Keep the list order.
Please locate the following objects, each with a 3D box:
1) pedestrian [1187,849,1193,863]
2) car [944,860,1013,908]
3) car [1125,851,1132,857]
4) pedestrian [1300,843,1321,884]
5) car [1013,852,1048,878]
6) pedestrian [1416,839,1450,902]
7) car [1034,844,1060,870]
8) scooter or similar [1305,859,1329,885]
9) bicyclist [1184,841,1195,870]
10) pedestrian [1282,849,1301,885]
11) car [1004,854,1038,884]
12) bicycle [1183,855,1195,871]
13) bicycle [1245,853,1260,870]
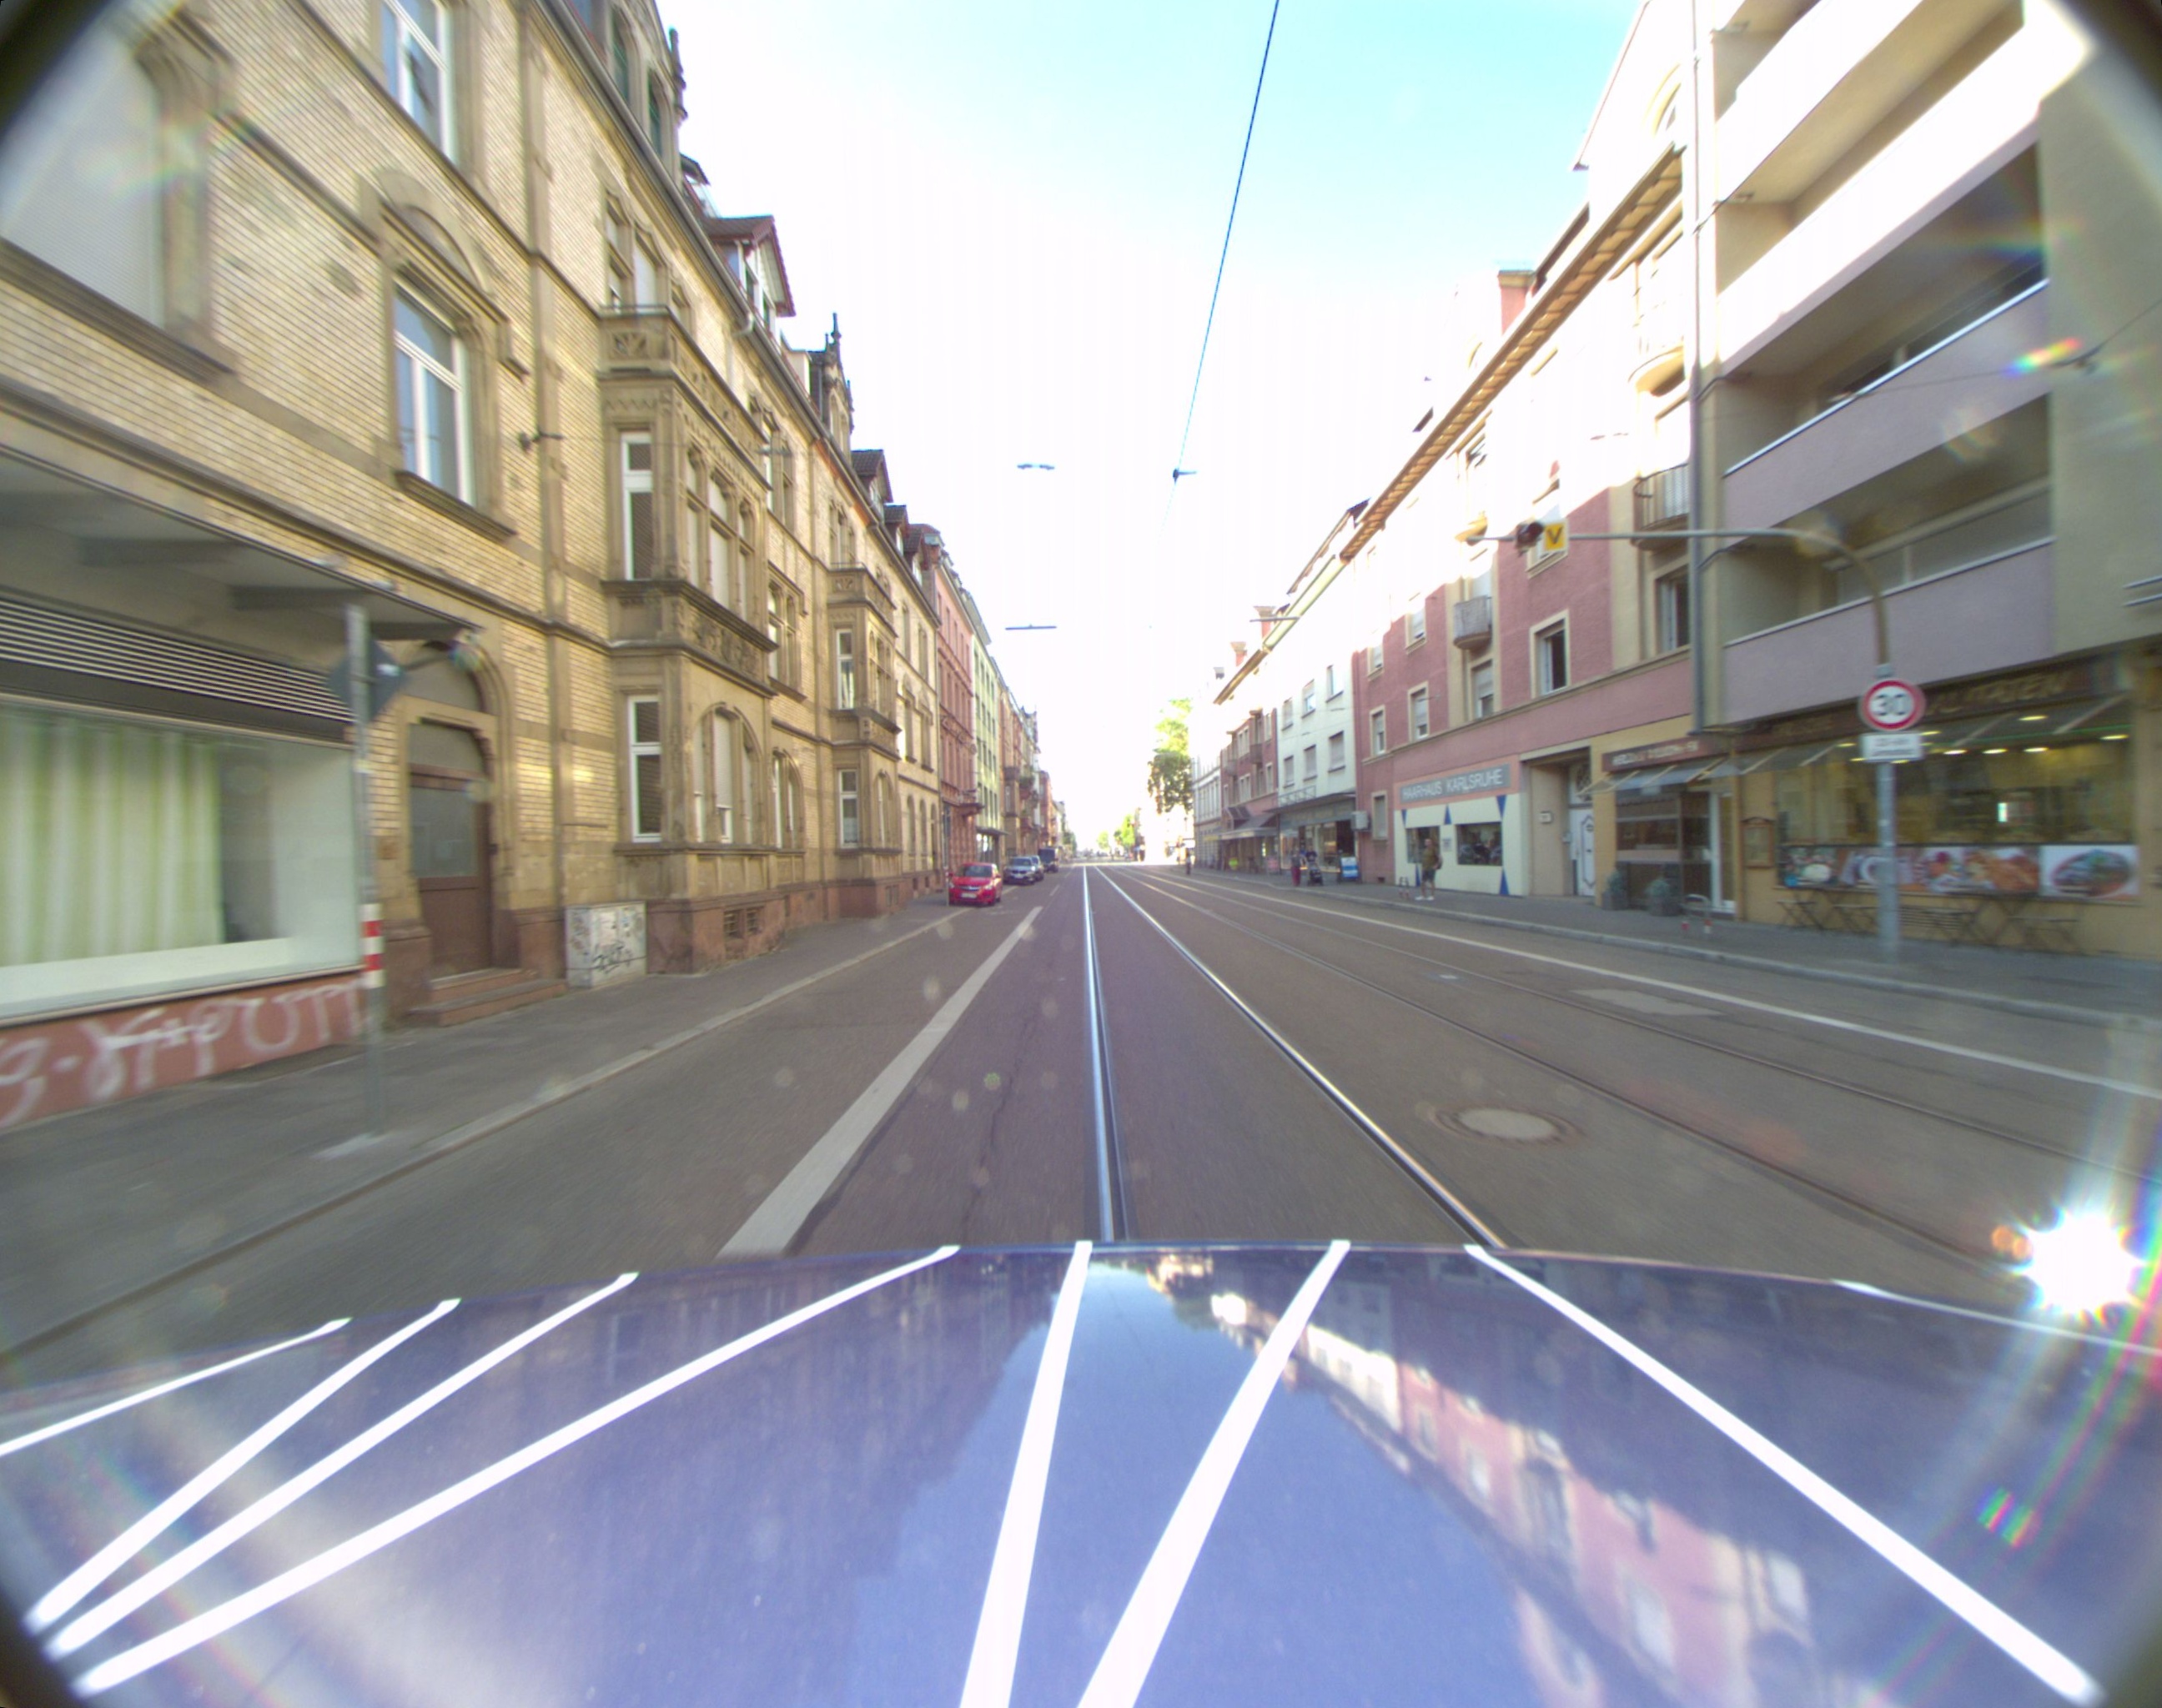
[{"bbox_3d":[15.343,0.301,106.902,0.795,1.837,0.809,-2,1,3],"label":"pedestrian"},{"bbox_3d":[-3.596,1.010,27.362,1.870,1.474,4.400,1,1,0],"label":"car"},{"bbox_3d":[15.868,0.090,252.854,1.998,2.002,4.000,-1,0,0],"label":"car"},{"bbox_3d":[10.196,0.395,33.839,0.627,1.779,0.821,-2,1,0],"label":"pedestrian"},{"bbox_3d":[-3.338,0.680,51.097,1.998,1.606,4.785,1,1,0],"label":"car"},{"bbox_3d":[9.638,0.440,20.815,0.564,1.676,0.616,-2,1,-1],"label":"pedestrian"},{"bbox_3d":[-3.421,0.253,77.775,2.128,2.478,5.856,-2,1,2],"label":"car"},{"bbox_3d":[10.178,0.770,32.816,0.663,1.055,1.105,-2,0,1],"label":"scooter or similar"},{"bbox_3d":[7.669,0.128,53.761,0.613,2.002,0.733,-2,1,1],"label":"bicyclist"},{"bbox_3d":[9.221,0.549,33.315,0.637,1.540,0.623,-2,1,0],"label":"pedestrian"},{"bbox_3d":[-3.566,0.853,45.551,1.871,1.637,4.399,2,0,-4],"label":"car"},{"bbox_3d":[7.655,0.637,53.790,0.603,1.089,2.044,0,1,1],"label":"bicycle"},{"bbox_3d":[11.280,0.485,50.101,0.425,1.053,2.329,-2,1,0],"label":"bicycle"}]
